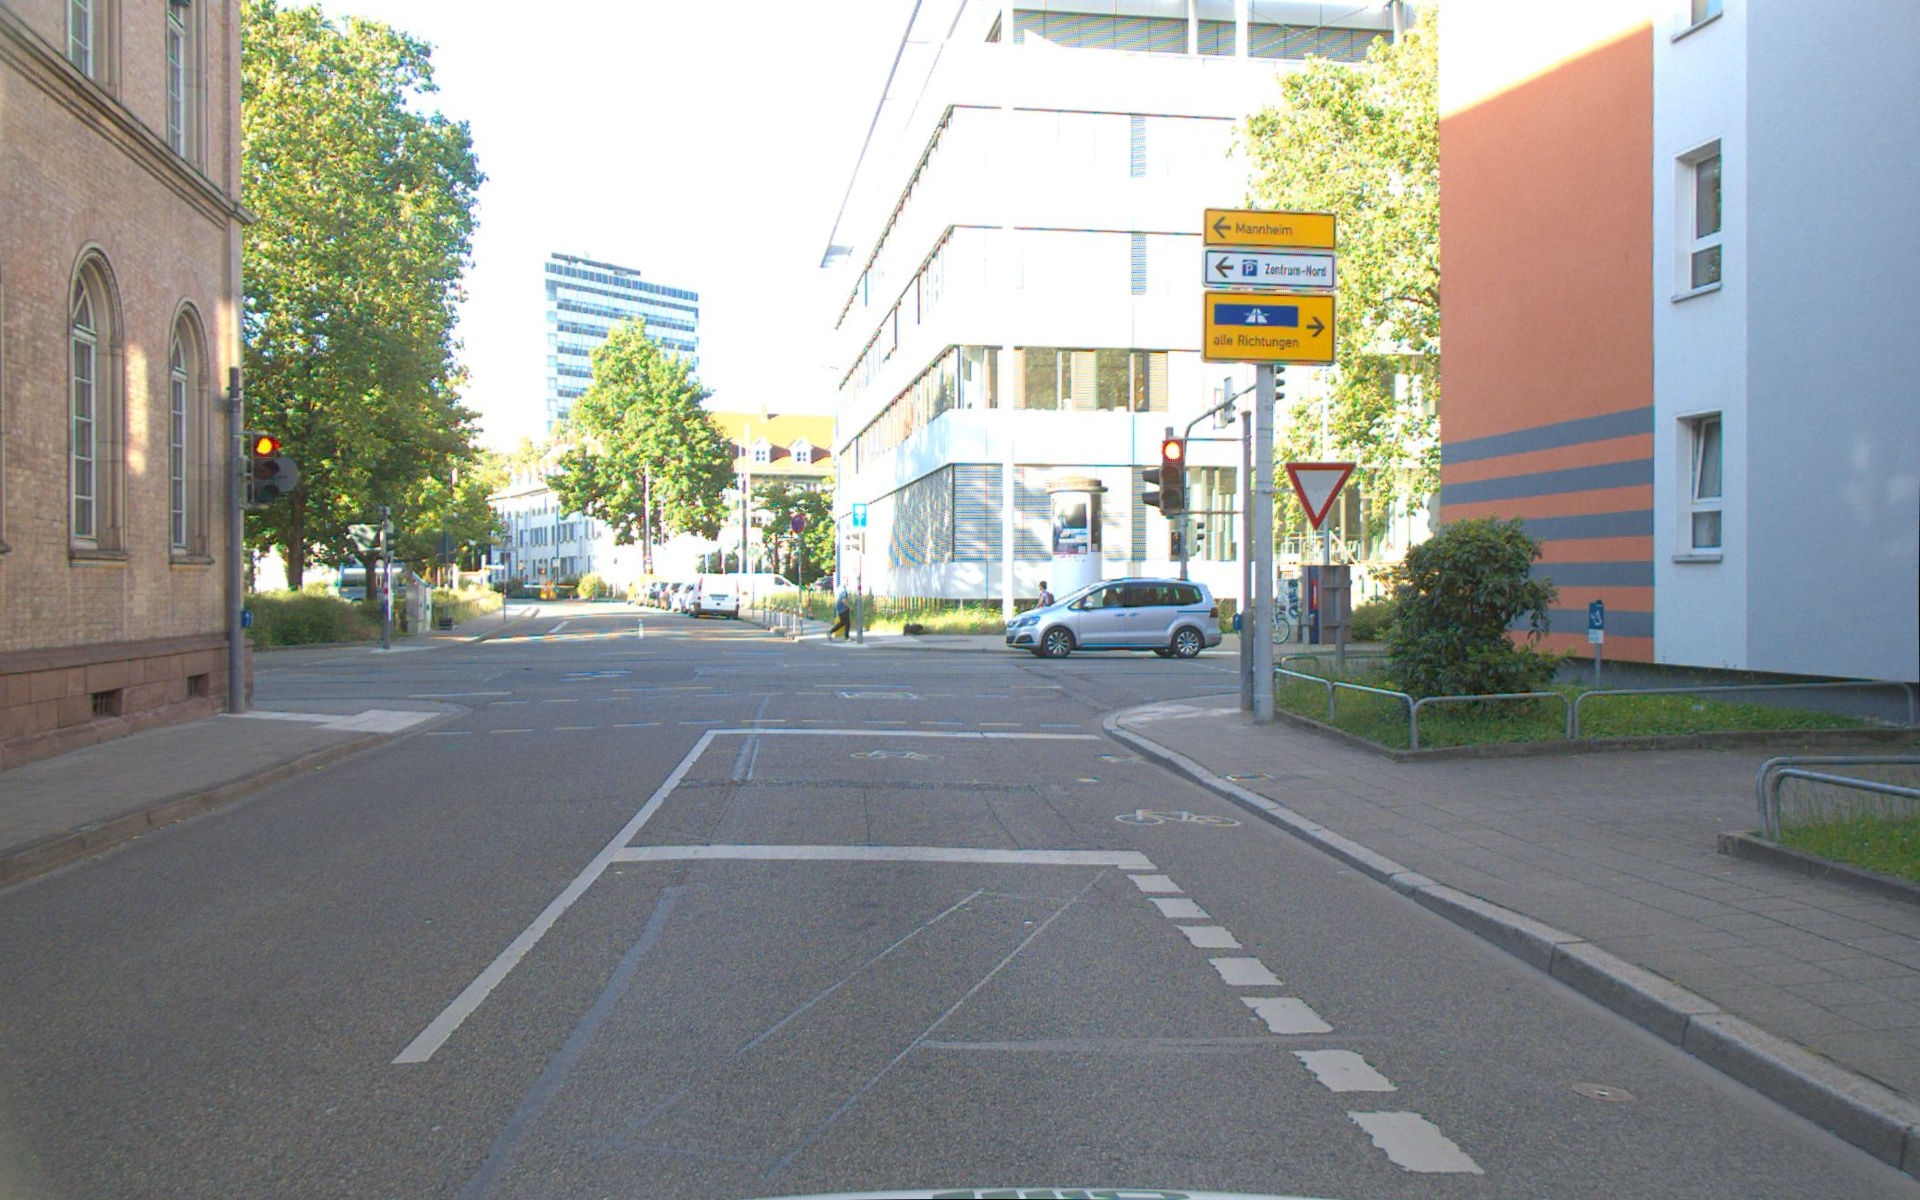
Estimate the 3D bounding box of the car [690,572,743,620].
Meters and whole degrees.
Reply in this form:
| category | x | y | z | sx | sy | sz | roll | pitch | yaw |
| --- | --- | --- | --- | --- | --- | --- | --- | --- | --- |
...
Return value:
| category | x | y | z | sx | sy | sz | roll | pitch | yaw |
| --- | --- | --- | --- | --- | --- | --- | --- | --- | --- |
| car | -10.369 | -0.185 | 70.302 | 2.030 | 1.997 | 4.227 | 0 | 1 | -11 |

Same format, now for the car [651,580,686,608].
| category | x | y | z | sx | sy | sz | roll | pitch | yaw |
| --- | --- | --- | --- | --- | --- | --- | --- | --- | --- |
| car | -16.126 | -0.346 | 91.312 | 1.675 | 1.490 | 4.223 | 0 | 1 | -13 |

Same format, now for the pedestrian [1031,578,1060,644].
| category | x | y | z | sx | sy | sz | roll | pitch | yaw |
| --- | --- | --- | --- | --- | --- | --- | --- | --- | --- |
| pedestrian | 2.162 | 0.270 | 41.603 | 0.697 | 1.627 | 0.618 | 0 | 0 | 5 |

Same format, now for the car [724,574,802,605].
| category | x | y | z | sx | sy | sz | roll | pitch | yaw |
| --- | --- | --- | --- | --- | --- | --- | --- | --- | --- |
| car | -12.918 | -0.693 | 108.515 | 4.808 | 1.905 | 1.989 | 1 | -1 | -20 |

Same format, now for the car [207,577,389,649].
| category | x | y | z | sx | sy | sz | roll | pitch | yaw |
| --- | --- | --- | --- | --- | --- | --- | --- | --- | --- |
| car | -17.343 | 0.314 | 43.514 | 4.148 | 1.808 | 1.900 | 0 | 0 | -11 |

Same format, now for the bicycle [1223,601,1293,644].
| category | x | y | z | sx | sy | sz | roll | pitch | yaw |
| --- | --- | --- | --- | --- | --- | --- | --- | --- | --- |
| bicycle | 7.694 | 0.576 | 42.792 | 0.461 | 1.067 | 1.884 | -1 | 1 | -44 |

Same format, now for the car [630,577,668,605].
| category | x | y | z | sx | sy | sz | roll | pitch | yaw |
| --- | --- | --- | --- | --- | --- | --- | --- | --- | --- |
| car | -19.001 | -0.561 | 100.992 | 2.065 | 1.687 | 4.460 | 0 | 1 | -14 |

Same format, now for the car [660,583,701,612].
| category | x | y | z | sx | sy | sz | roll | pitch | yaw |
| --- | --- | --- | --- | --- | --- | --- | --- | --- | --- |
| car | -14.704 | -0.158 | 86.959 | 1.676 | 1.449 | 4.220 | 0 | 1 | -16 |

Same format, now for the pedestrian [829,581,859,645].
| category | x | y | z | sx | sy | sz | roll | pitch | yaw |
| --- | --- | --- | --- | --- | --- | --- | --- | --- | --- |
| pedestrian | -3.189 | 0.349 | 45.522 | 0.642 | 1.766 | 0.808 | 0 | 0 | -18 |

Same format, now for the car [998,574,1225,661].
| category | x | y | z | sx | sy | sz | roll | pitch | yaw |
| --- | --- | --- | --- | --- | --- | --- | --- | --- | --- |
| car | 3.284 | 0.358 | 36.255 | 4.671 | 1.736 | 1.796 | -1 | 1 | -9 |

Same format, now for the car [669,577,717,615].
| category | x | y | z | sx | sy | sz | roll | pitch | yaw |
| --- | --- | --- | --- | --- | --- | --- | --- | --- | --- |
| car | -13.263 | -0.232 | 82.033 | 1.914 | 1.826 | 4.221 | 0 | 1 | -15 |
